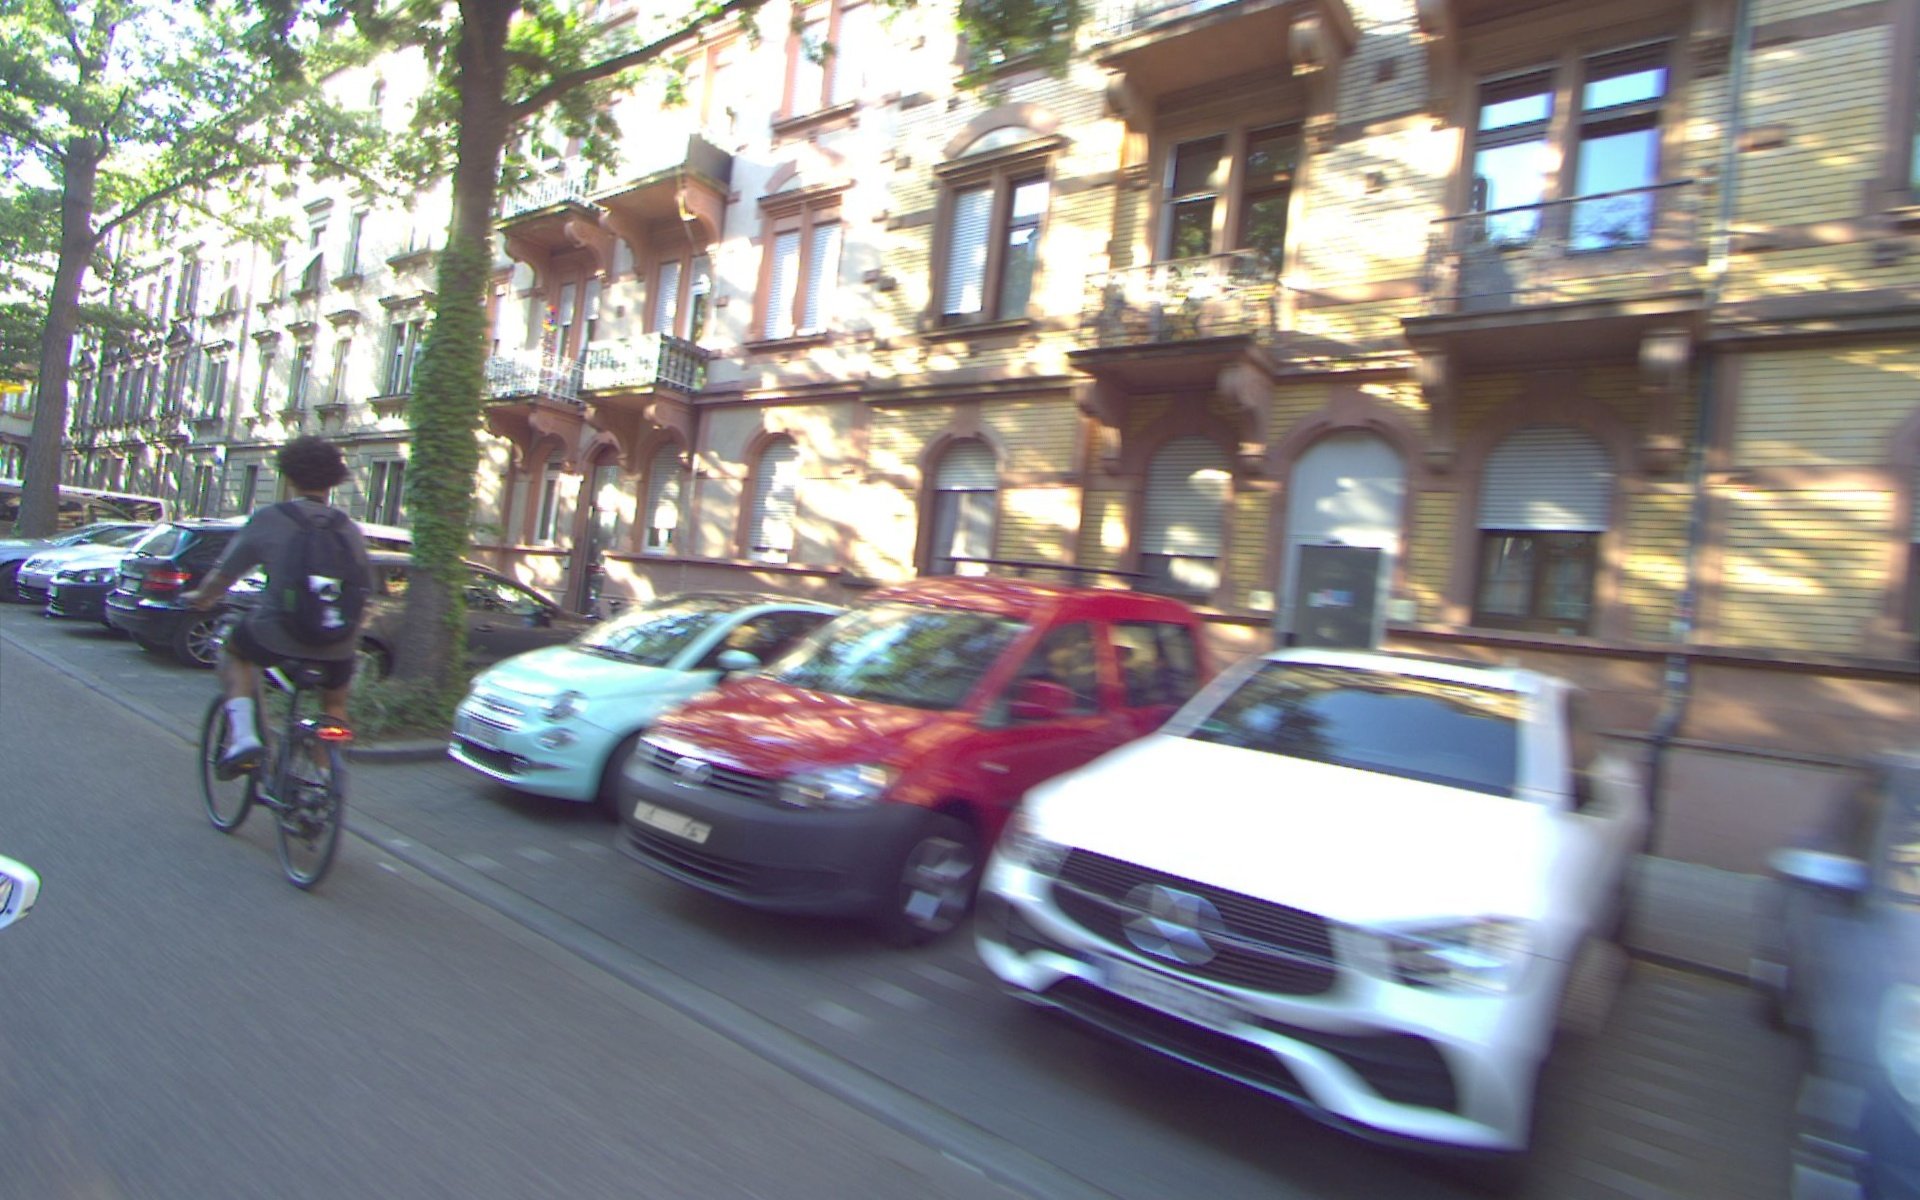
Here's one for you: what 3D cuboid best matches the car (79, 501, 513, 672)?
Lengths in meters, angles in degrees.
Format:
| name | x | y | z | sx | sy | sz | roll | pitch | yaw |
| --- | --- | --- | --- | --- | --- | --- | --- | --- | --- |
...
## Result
| name | x | y | z | sx | sy | sz | roll | pitch | yaw |
| --- | --- | --- | --- | --- | --- | --- | --- | --- | --- |
| car | -7.885 | -0.072 | 12.295 | 1.708 | 1.626 | 4.009 | 6 | -1 | 37 |

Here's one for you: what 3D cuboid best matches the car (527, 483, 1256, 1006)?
| name | x | y | z | sx | sy | sz | roll | pitch | yaw |
| --- | --- | --- | --- | --- | --- | --- | --- | --- | --- |
| car | 0.012 | 0.634 | 6.144 | 1.822 | 1.949 | 4.441 | 8 | 1 | 37 |

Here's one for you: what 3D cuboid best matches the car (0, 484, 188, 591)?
| name | x | y | z | sx | sy | sz | roll | pitch | yaw |
| --- | --- | --- | --- | --- | --- | --- | --- | --- | --- |
| car | -18.380 | -1.287 | 20.153 | 1.800 | 1.817 | 4.235 | 6 | 0 | 18 |

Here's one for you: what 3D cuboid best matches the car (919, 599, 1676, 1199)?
| name | x | y | z | sx | sy | sz | roll | pitch | yaw |
| --- | --- | --- | --- | --- | --- | --- | --- | --- | --- |
| car | 1.986 | 1.016 | 4.715 | 1.823 | 1.576 | 4.339 | 8 | 1 | 39 |

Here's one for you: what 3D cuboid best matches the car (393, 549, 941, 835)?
| name | x | y | z | sx | sy | sz | roll | pitch | yaw |
| --- | --- | --- | --- | --- | --- | --- | --- | --- | --- |
| car | -1.952 | 0.593 | 7.702 | 1.819 | 1.473 | 3.661 | 7 | 1 | 31 |

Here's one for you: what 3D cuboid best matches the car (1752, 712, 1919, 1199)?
| name | x | y | z | sx | sy | sz | roll | pitch | yaw |
| --- | --- | --- | --- | --- | --- | --- | --- | --- | --- |
| car | 3.886 | 1.263 | 3.317 | 1.767 | 1.452 | 4.008 | 6 | 0 | 37 |

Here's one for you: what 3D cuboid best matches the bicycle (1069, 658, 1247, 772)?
| name | x | y | z | sx | sy | sz | roll | pitch | yaw |
| --- | --- | --- | --- | --- | --- | --- | --- | --- | --- |
| bicycle | 2.227 | 1.277 | 11.492 | 1.865 | 1.013 | 0.553 | 6 | 0 | 38 |

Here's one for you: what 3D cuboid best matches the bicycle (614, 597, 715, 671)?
| name | x | y | z | sx | sy | sz | roll | pitch | yaw |
| --- | --- | --- | --- | --- | --- | --- | --- | --- | --- |
| bicycle | -4.937 | 0.555 | 16.742 | 1.865 | 1.013 | 0.553 | 6 | 0 | 38 |

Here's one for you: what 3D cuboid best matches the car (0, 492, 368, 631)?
| name | x | y | z | sx | sy | sz | roll | pitch | yaw |
| --- | --- | --- | --- | --- | --- | --- | --- | --- | --- |
| car | -11.927 | -0.508 | 15.661 | 1.804 | 1.630 | 4.227 | 6 | 0 | 30 |

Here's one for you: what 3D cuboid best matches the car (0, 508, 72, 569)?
| name | x | y | z | sx | sy | sz | roll | pitch | yaw |
| --- | --- | --- | --- | --- | --- | --- | --- | --- | --- |
| car | -23.784 | -1.639 | 23.774 | 1.690 | 1.309 | 3.852 | 6 | 0 | 34 |

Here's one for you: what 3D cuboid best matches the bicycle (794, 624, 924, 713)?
| name | x | y | z | sx | sy | sz | roll | pitch | yaw |
| --- | --- | --- | --- | --- | --- | --- | --- | --- | --- |
| bicycle | -1.433 | 0.936 | 14.044 | 1.865 | 1.013 | 0.553 | 6 | 0 | 38 |

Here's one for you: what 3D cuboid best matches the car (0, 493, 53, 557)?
| name | x | y | z | sx | sy | sz | roll | pitch | yaw |
| --- | --- | --- | --- | --- | --- | --- | --- | --- | --- |
| car | -28.734 | -2.355 | 28.715 | 1.690 | 1.720 | 3.852 | 6 | 0 | 34 |

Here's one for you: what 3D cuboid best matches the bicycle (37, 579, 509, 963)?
| name | x | y | z | sx | sy | sz | roll | pitch | yaw |
| --- | --- | --- | --- | --- | --- | --- | --- | --- | --- |
| bicycle | -3.446 | 0.647 | 4.870 | 2.880 | 1.171 | 0.996 | 6 | -2 | 39 |

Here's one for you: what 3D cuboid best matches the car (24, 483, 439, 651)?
| name | x | y | z | sx | sy | sz | roll | pitch | yaw |
| --- | --- | --- | --- | --- | --- | --- | --- | --- | --- |
| car | -9.873 | -0.361 | 13.965 | 1.807 | 1.798 | 4.221 | 6 | 0 | 36 |

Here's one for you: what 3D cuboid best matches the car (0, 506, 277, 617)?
| name | x | y | z | sx | sy | sz | roll | pitch | yaw |
| --- | --- | --- | --- | --- | --- | --- | --- | --- | --- |
| car | -14.113 | -0.642 | 16.650 | 1.805 | 1.421 | 4.224 | 6 | 0 | 33 |

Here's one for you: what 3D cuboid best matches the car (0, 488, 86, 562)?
| name | x | y | z | sx | sy | sz | roll | pitch | yaw |
| --- | --- | --- | --- | --- | --- | --- | --- | --- | --- |
| car | -26.785 | -2.193 | 27.603 | 1.690 | 1.819 | 3.852 | 6 | 0 | 34 |

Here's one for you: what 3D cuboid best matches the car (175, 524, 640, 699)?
| name | x | y | z | sx | sy | sz | roll | pitch | yaw |
| --- | --- | --- | --- | --- | --- | --- | --- | --- | --- |
| car | -5.750 | 0.219 | 10.922 | 1.708 | 1.485 | 4.009 | 6 | -1 | 37 |

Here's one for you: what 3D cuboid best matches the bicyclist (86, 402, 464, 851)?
| name | x | y | z | sx | sy | sz | roll | pitch | yaw |
| --- | --- | --- | --- | --- | --- | --- | --- | --- | --- |
| bicyclist | -3.254 | 0.114 | 4.786 | 1.190 | 1.810 | 0.996 | 6 | -2 | 39 |

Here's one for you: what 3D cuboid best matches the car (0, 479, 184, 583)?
| name | x | y | z | sx | sy | sz | roll | pitch | yaw |
| --- | --- | --- | --- | --- | --- | --- | --- | --- | --- |
| car | -20.952 | -1.640 | 22.694 | 1.807 | 1.949 | 5.055 | 7 | 0 | 37 |
